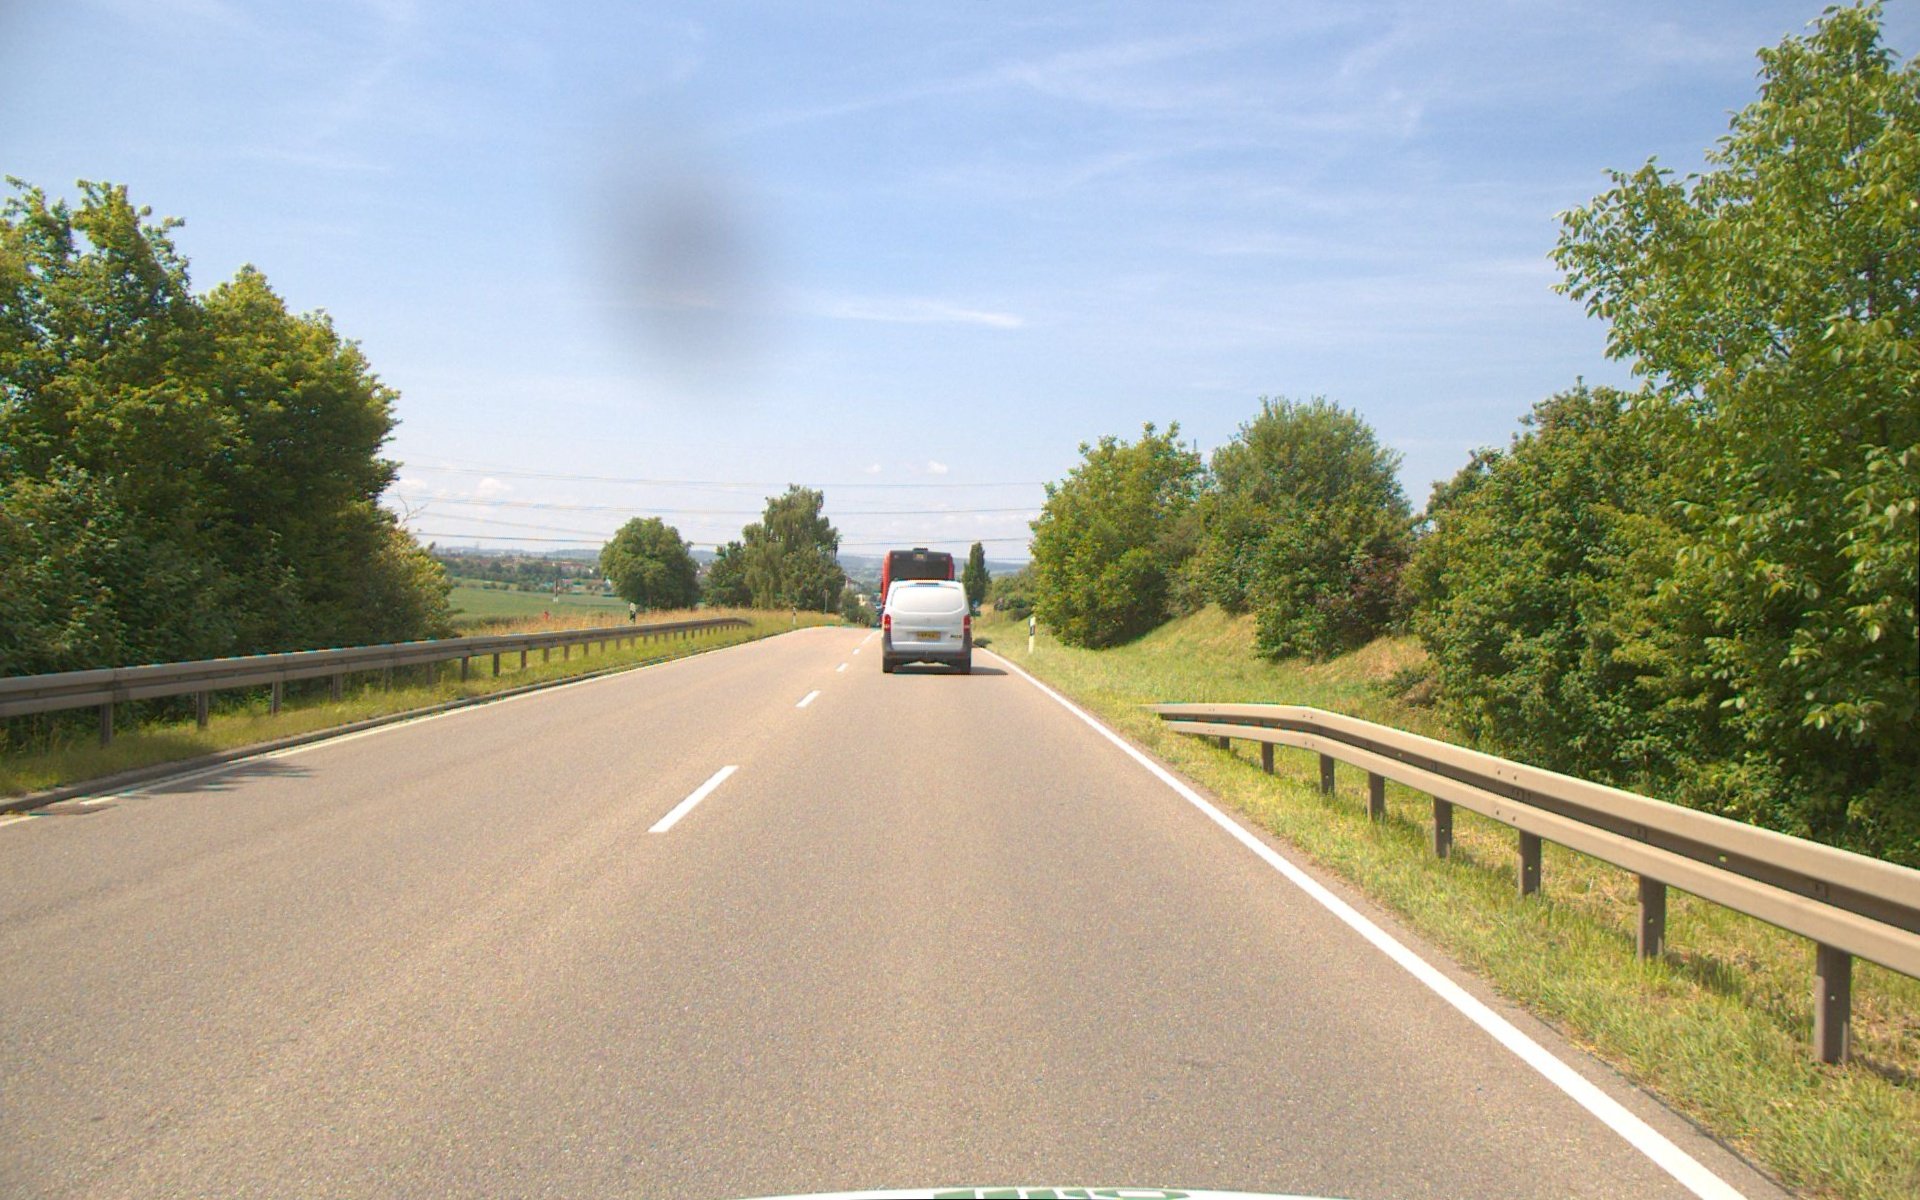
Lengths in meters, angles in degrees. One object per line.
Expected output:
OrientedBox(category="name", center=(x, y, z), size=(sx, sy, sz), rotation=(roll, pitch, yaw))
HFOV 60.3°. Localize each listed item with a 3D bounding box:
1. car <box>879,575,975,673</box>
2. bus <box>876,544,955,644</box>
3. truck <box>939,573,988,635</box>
OrientedBox(category="car", center=(-0.705, 0.446, 35.244), size=(1.884, 1.922, 3.999), rotation=(1, 1, -1))
OrientedBox(category="bus", center=(-1.721, -0.291, 63.216), size=(2.691, 3.412, 13.218), rotation=(0, 1, -2))
OrientedBox(category="truck", center=(0.192, 0.393, 129.159), size=(3.417, 4.501, 14.897), rotation=(1, -1, -1))
